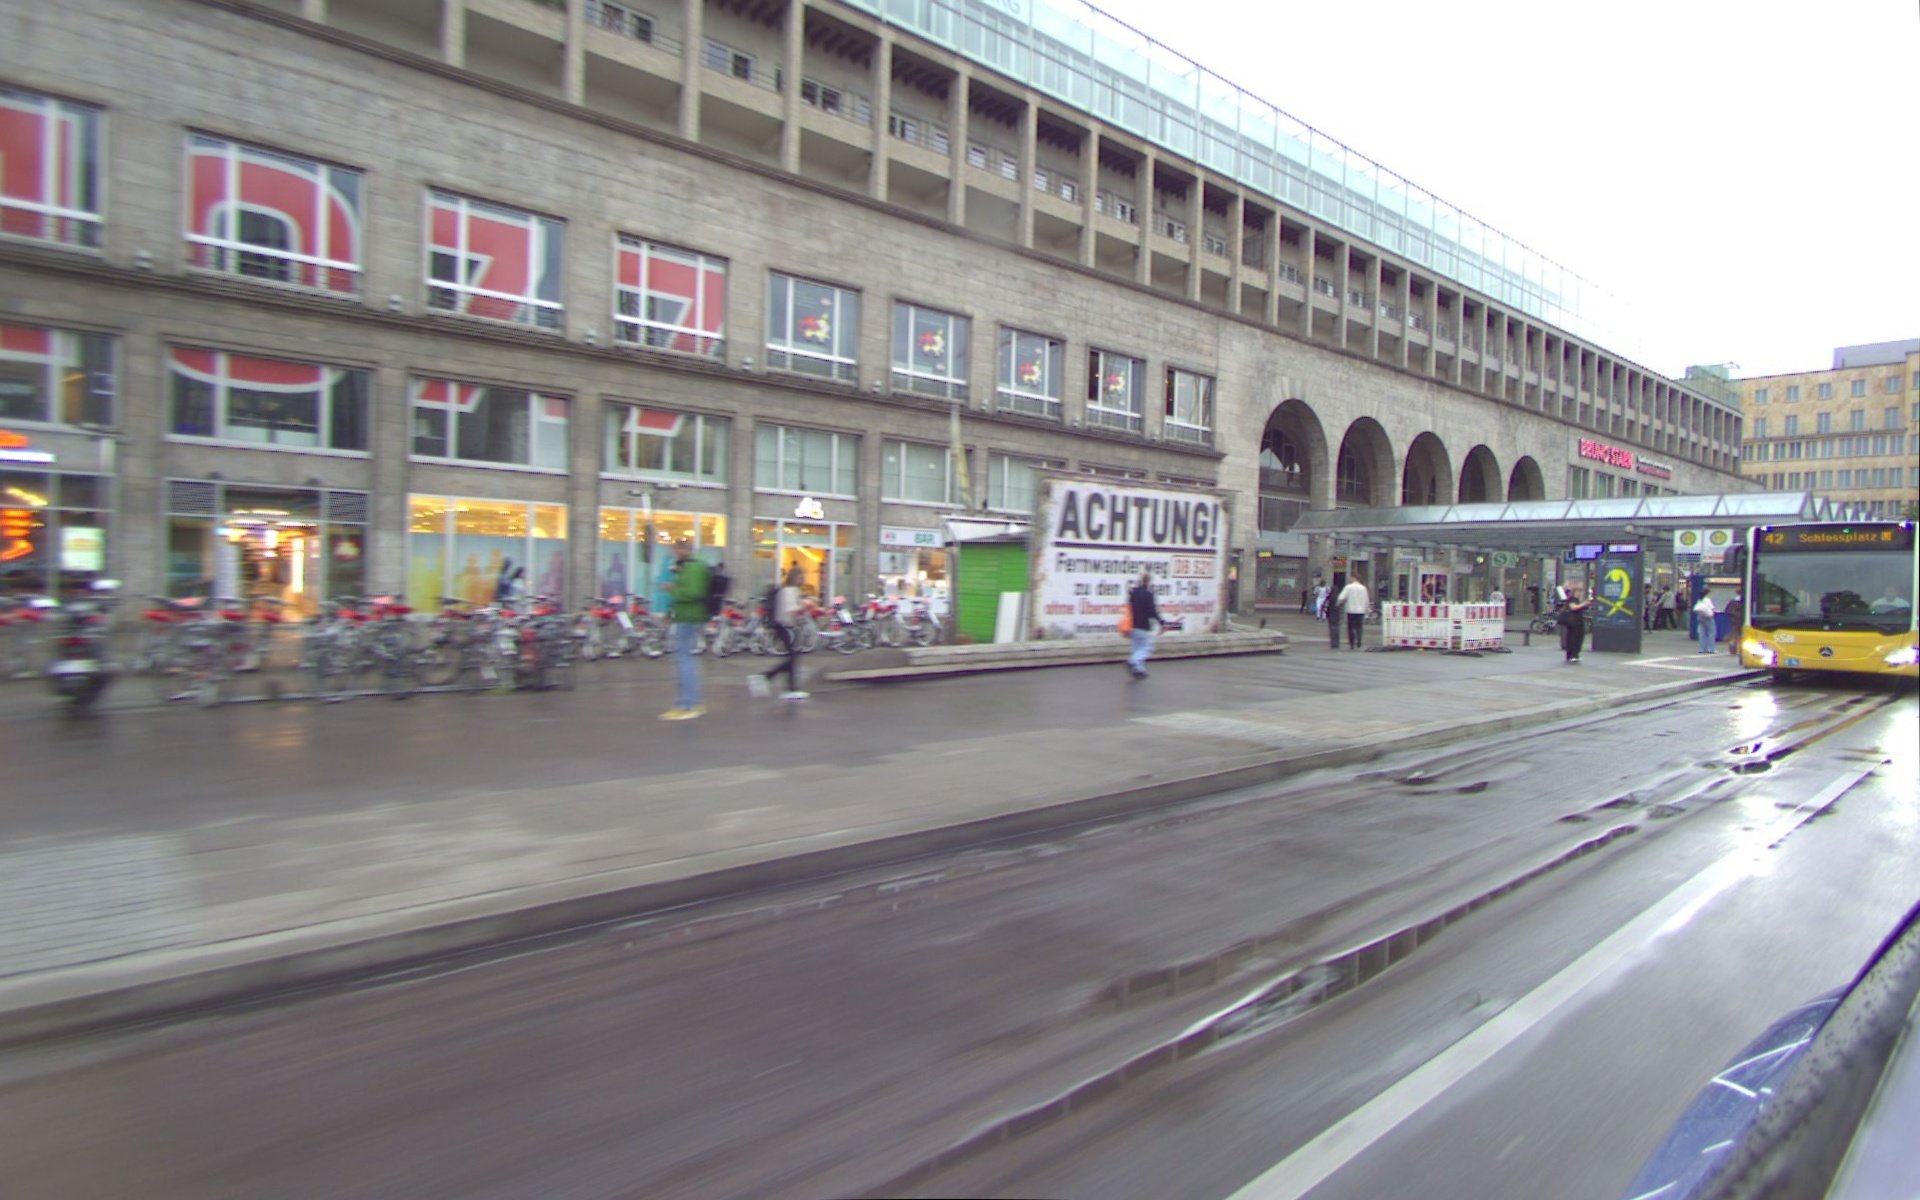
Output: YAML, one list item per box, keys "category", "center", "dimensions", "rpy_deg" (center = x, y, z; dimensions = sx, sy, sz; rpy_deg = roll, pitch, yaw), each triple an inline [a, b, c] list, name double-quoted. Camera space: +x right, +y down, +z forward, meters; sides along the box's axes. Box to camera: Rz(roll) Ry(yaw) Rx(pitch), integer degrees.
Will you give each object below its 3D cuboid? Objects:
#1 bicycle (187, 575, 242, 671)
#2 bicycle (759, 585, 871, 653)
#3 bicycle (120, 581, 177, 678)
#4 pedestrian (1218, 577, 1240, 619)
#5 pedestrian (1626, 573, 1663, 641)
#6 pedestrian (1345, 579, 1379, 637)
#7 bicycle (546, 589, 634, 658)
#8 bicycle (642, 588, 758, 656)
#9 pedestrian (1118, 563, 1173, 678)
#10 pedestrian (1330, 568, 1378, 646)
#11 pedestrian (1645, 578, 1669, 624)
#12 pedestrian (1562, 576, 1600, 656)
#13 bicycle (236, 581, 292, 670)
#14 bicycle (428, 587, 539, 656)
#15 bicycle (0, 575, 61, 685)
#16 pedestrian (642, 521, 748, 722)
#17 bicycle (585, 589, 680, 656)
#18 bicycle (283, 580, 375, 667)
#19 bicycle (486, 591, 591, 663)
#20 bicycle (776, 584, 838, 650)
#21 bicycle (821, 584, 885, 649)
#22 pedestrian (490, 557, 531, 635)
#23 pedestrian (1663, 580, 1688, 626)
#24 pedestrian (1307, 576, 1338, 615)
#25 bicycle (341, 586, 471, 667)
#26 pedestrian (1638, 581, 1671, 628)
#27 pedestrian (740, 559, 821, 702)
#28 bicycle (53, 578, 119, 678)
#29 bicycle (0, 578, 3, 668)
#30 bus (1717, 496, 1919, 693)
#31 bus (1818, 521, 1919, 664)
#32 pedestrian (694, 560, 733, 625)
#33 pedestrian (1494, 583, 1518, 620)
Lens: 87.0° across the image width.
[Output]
- category: "bicycle"
  center: [-11.221, 0.306, 15.209]
  dimensions: [0.606, 1.281, 1.995]
  rpy_deg: [0, 3, -38]
- category: "bicycle"
  center: [-2.864, 0.377, 20.084]
  dimensions: [2.144, 1.252, 0.619]
  rpy_deg: [2, 2, -5]
- category: "bicycle"
  center: [-11.837, 0.384, 14.788]
  dimensions: [0.606, 1.252, 1.995]
  rpy_deg: [0, 3, -38]
- category: "pedestrian"
  center: [10.189, -0.086, 38.361]
  dimensions: [0.682, 1.540, 0.585]
  rpy_deg: [1, 1, 26]
- category: "pedestrian"
  center: [20.070, 0.204, 29.673]
  dimensions: [0.792, 1.953, 0.695]
  rpy_deg: [1, 1, 40]
- category: "pedestrian"
  center: [12.796, 0.236, 32.236]
  dimensions: [0.981, 1.815, 0.783]
  rpy_deg: [1, 1, 22]
- category: "bicycle"
  center: [-6.710, 0.400, 18.324]
  dimensions: [1.685, 1.122, 0.666]
  rpy_deg: [3, 3, 36]
- category: "bicycle"
  center: [-5.019, 0.401, 19.545]
  dimensions: [2.068, 1.153, 0.882]
  rpy_deg: [3, 2, 25]
- category: "pedestrian"
  center: [2.689, 0.280, 14.699]
  dimensions: [0.491, 1.639, 0.654]
  rpy_deg: [0, 1, -25]
- category: "pedestrian"
  center: [9.398, 0.153, 24.130]
  dimensions: [0.741, 1.815, 0.736]
  rpy_deg: [0, 1, -25]
- category: "pedestrian"
  center: [29.450, 0.041, 42.760]
  dimensions: [0.579, 1.897, 0.598]
  rpy_deg: [0, 0, -6]
- category: "pedestrian"
  center: [12.877, 0.323, 20.981]
  dimensions: [0.592, 1.639, 0.504]
  rpy_deg: [0, 0, 40]
- category: "bicycle"
  center: [-10.737, 0.365, 15.598]
  dimensions: [0.606, 1.240, 1.621]
  rpy_deg: [0, 3, -38]
- category: "bicycle"
  center: [-8.198, 0.348, 17.367]
  dimensions: [2.218, 1.123, 0.733]
  rpy_deg: [0, 0, 36]
- category: "bicycle"
  center: [-12.912, 0.371, 13.985]
  dimensions: [0.606, 1.351, 1.995]
  rpy_deg: [0, 3, -38]
- category: "pedestrian"
  center: [-2.717, 0.196, 10.387]
  dimensions: [0.705, 1.956, 0.777]
  rpy_deg: [1, 1, 41]
- category: "bicycle"
  center: [-6.118, 0.401, 18.907]
  dimensions: [1.720, 1.122, 0.681]
  rpy_deg: [3, 2, 28]
- category: "bicycle"
  center: [-10.185, 0.336, 16.310]
  dimensions: [1.986, 1.252, 0.609]
  rpy_deg: [4, 3, 38]
- category: "bicycle"
  center: [-7.485, 0.447, 17.930]
  dimensions: [1.971, 1.122, 0.815]
  rpy_deg: [4, 3, 36]
- category: "bicycle"
  center: [-3.289, 0.327, 21.551]
  dimensions: [0.605, 1.252, 1.999]
  rpy_deg: [1, 3, -30]
- category: "bicycle"
  center: [-2.304, 0.322, 21.576]
  dimensions: [0.605, 1.252, 1.999]
  rpy_deg: [1, 3, -29]
- category: "pedestrian"
  center: [-10.155, -0.099, 22.863]
  dimensions: [0.695, 1.710, 0.598]
  rpy_deg: [-1, 1, -40]
- category: "pedestrian"
  center: [29.732, 0.124, 42.056]
  dimensions: [0.612, 1.883, 0.609]
  rpy_deg: [0, 0, -30]
- category: "pedestrian"
  center: [15.393, -0.189, 43.001]
  dimensions: [0.973, 1.609, 0.789]
  rpy_deg: [1, 1, -3]
- category: "bicycle"
  center: [-9.350, 0.399, 17.004]
  dimensions: [2.872, 1.122, 0.868]
  rpy_deg: [4, 3, 38]
- category: "pedestrian"
  center: [25.596, 0.152, 37.289]
  dimensions: [0.885, 1.716, 0.751]
  rpy_deg: [0, 0, -36]
- category: "pedestrian"
  center: [-2.180, 0.340, 12.257]
  dimensions: [0.772, 1.661, 0.790]
  rpy_deg: [0, 1, -25]
- category: "bicycle"
  center: [-12.350, 0.350, 14.342]
  dimensions: [0.606, 1.252, 1.995]
  rpy_deg: [0, 3, -38]
- category: "bicycle"
  center: [-13.383, 0.371, 13.572]
  dimensions: [0.606, 1.252, 1.995]
  rpy_deg: [0, 3, -38]
- category: "bus"
  center: [18.499, -0.152, 20.520]
  dimensions: [9.079, 3.245, 3.119]
  rpy_deg: [-1, 1, -40]
- category: "bus"
  center: [25.383, -0.231, 26.321]
  dimensions: [8.972, 3.288, 3.148]
  rpy_deg: [-1, 1, -40]
- category: "pedestrian"
  center: [-6.582, -0.198, 27.059]
  dimensions: [0.762, 1.718, 0.723]
  rpy_deg: [-1, 0, -41]
- category: "pedestrian"
  center: [24.704, 0.056, 45.769]
  dimensions: [0.792, 1.639, 0.859]
  rpy_deg: [1, 1, 40]
